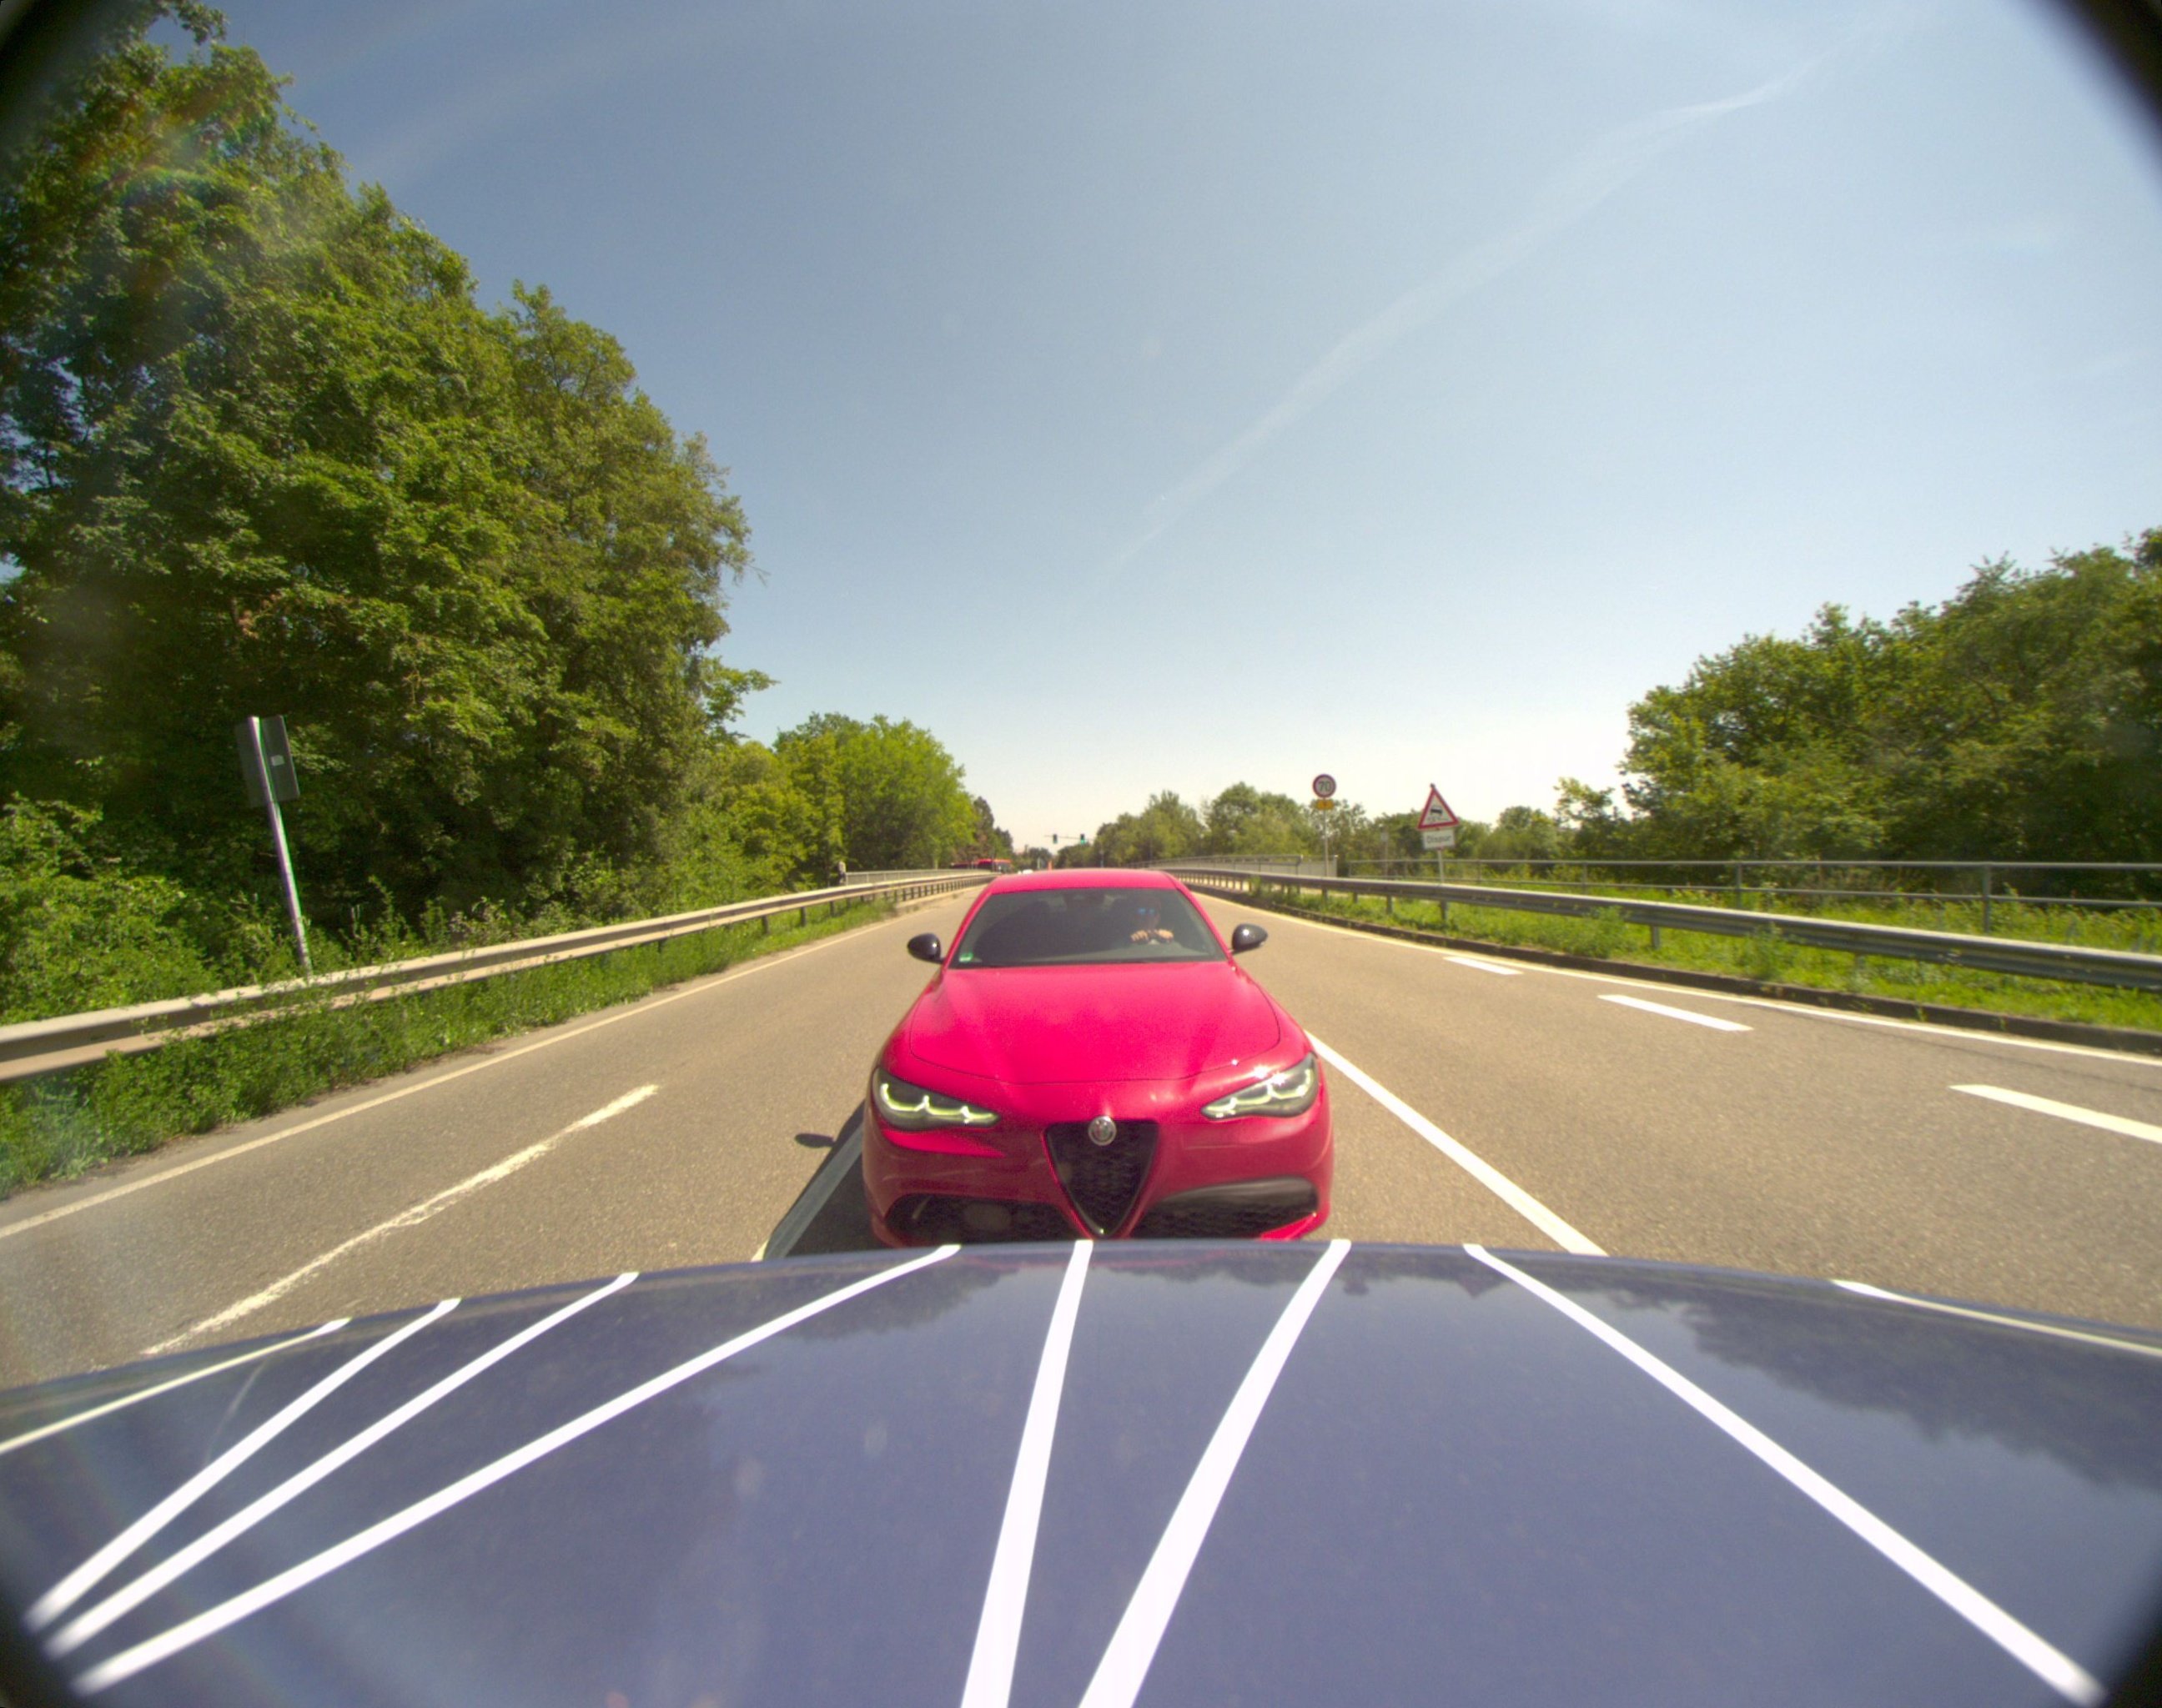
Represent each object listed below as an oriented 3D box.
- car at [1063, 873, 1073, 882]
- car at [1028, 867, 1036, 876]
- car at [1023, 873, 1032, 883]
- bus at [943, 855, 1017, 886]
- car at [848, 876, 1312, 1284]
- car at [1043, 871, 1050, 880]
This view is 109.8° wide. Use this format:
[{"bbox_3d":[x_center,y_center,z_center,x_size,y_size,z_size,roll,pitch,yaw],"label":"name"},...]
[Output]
[{"bbox_3d":[-2.386,4.284,138.426,1.649,1.410,3.764,-2,0,-4],"label":"car"},{"bbox_3d":[-9.046,3.209,140.237,1.476,1.565,3.487,-1,0,-4],"label":"car"},{"bbox_3d":[-9.319,4.188,133.046,1.416,1.499,3.315,-1,0,-3],"label":"car"},{"bbox_3d":[-13.100,2.023,96.836,2.874,3.641,12.394,-2,1,-41],"label":"bus"},{"bbox_3d":[-0.042,0.949,5.134,1.801,1.448,4.284,-1,0,-1],"label":"car"},{"bbox_3d":[-10.282,6.402,226.681,1.996,2.354,5.180,-2,0,-3],"label":"car"}]
